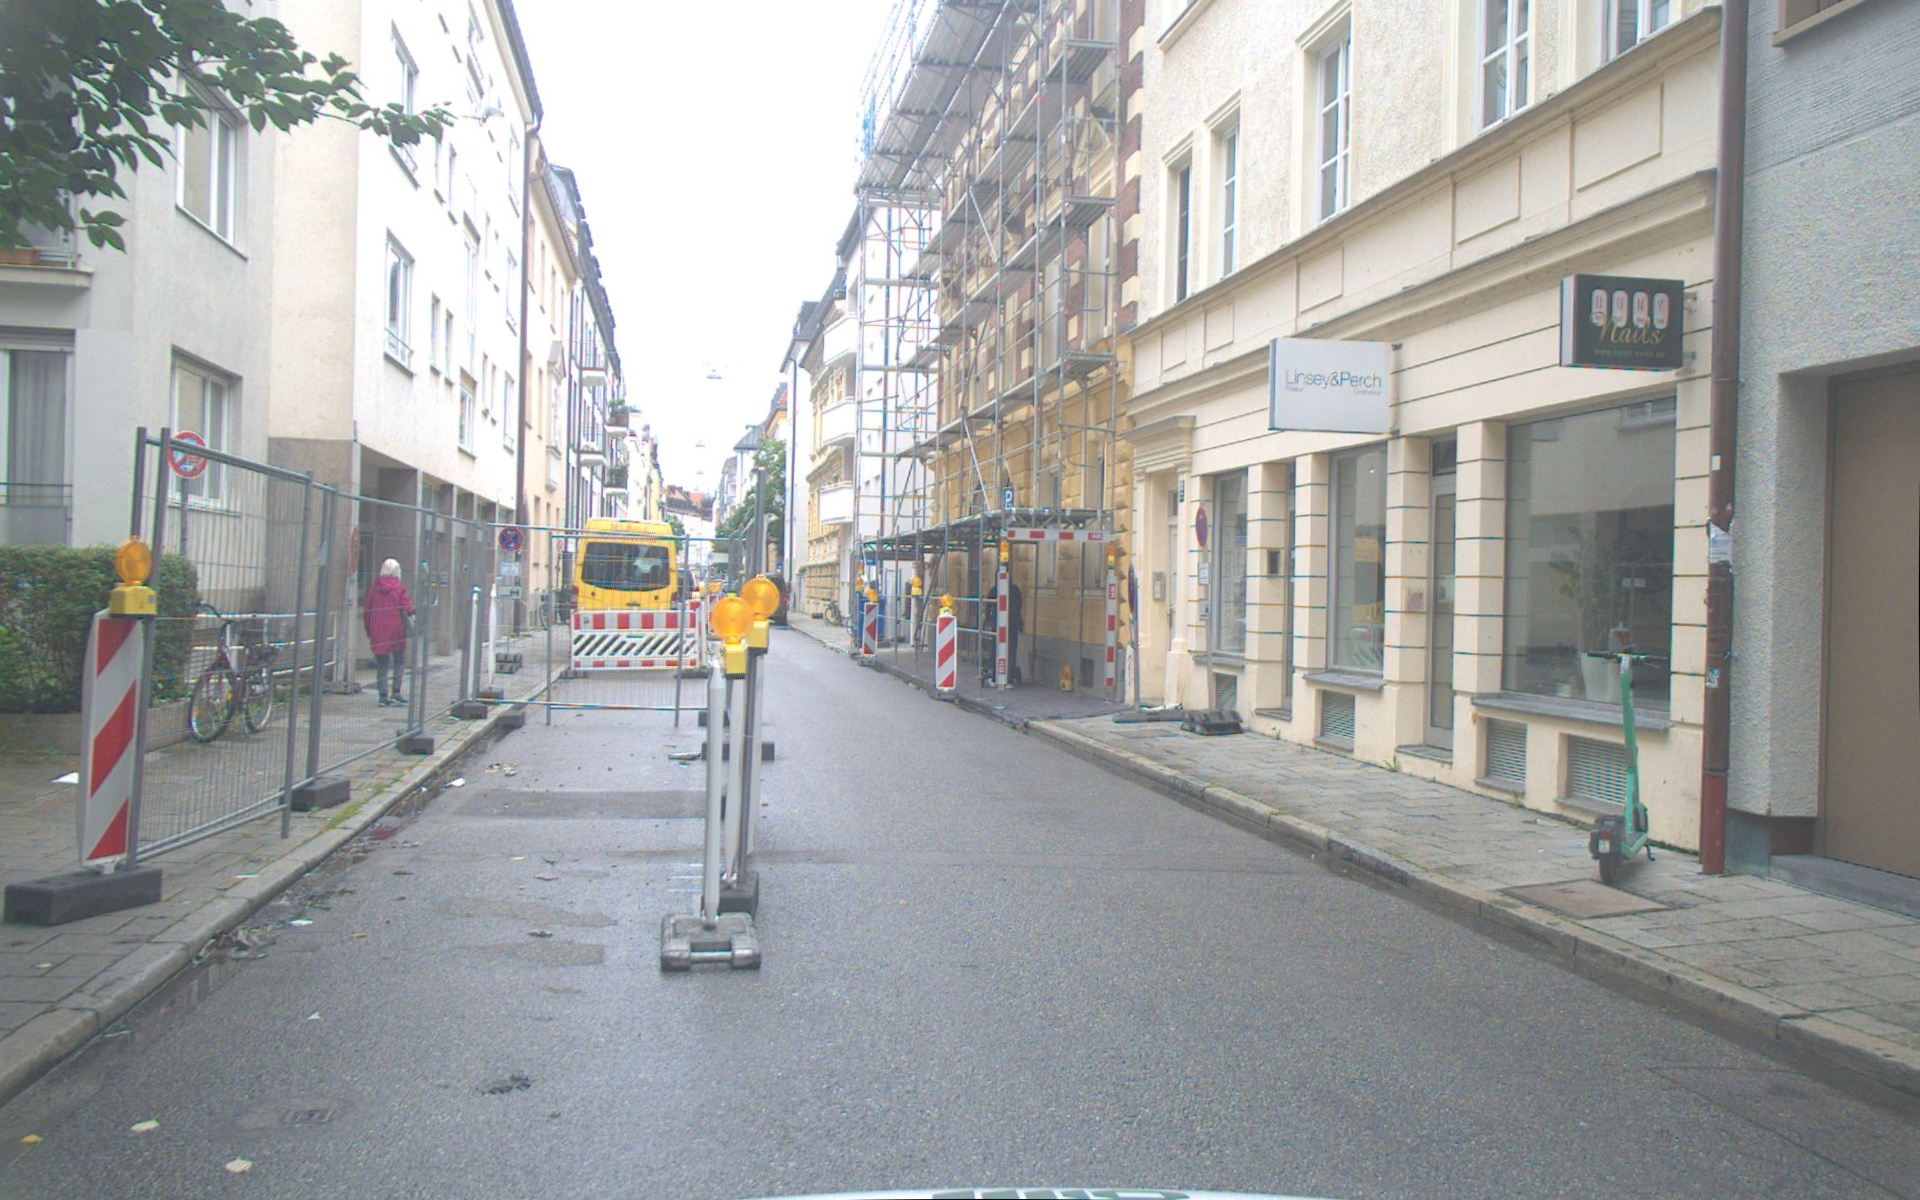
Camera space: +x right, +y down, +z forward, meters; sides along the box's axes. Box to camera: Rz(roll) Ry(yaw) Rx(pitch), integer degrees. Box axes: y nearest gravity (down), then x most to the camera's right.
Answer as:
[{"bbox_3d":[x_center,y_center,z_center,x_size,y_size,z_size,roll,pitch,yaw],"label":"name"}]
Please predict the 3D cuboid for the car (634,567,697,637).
[{"bbox_3d":[-8.590,0.036,48.358,1.696,1.930,5.496,0,0,-10],"label":"car"}]

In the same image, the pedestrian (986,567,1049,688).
[{"bbox_3d":[0.875,0.398,25.286,0.716,1.783,0.986,-2,1,-11],"label":"pedestrian"}]

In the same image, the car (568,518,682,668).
[{"bbox_3d":[-6.536,-0.150,32.668,1.957,2.624,6.720,1,0,-10],"label":"car"}]

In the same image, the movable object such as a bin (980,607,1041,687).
[{"bbox_3d":[0.778,0.721,25.821,0.716,1.160,0.985,-3,1,-11],"label":"movable object such as a bin"}]

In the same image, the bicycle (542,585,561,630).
[{"bbox_3d":[-11.608,0.200,46.960,0.375,1.209,2.126,3,1,-17],"label":"bicycle"}]

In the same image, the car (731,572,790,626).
[{"bbox_3d":[-7.885,-0.055,64.980,1.958,1.965,4.648,3,0,-10],"label":"car"}]

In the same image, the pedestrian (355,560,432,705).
[{"bbox_3d":[-6.244,0.350,18.254,0.626,1.558,0.746,1,0,-8],"label":"pedestrian"}]

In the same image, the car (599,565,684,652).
[{"bbox_3d":[-7.644,0.171,39.716,1.883,1.930,4.778,0,0,-11],"label":"car"}]

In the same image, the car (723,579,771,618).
[{"bbox_3d":[-9.632,-0.094,74.589,1.860,1.670,4.311,1,0,-10],"label":"car"}]

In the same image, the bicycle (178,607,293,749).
[{"bbox_3d":[-6.142,0.629,14.088,0.370,1.081,1.594,7,-1,-9],"label":"bicycle"}]

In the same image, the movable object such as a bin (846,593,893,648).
[{"bbox_3d":[-2.349,0.518,43.236,1.064,1.370,1.318,-2,1,3],"label":"movable object such as a bin"}]

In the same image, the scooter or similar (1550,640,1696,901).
[{"bbox_3d":[3.609,0.858,8.935,0.484,1.204,1.605,-1,1,30],"label":"scooter or similar"}]

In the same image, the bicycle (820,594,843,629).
[{"bbox_3d":[-4.560,0.403,58.566,0.626,1.173,1.911,-1,1,-9],"label":"bicycle"}]
